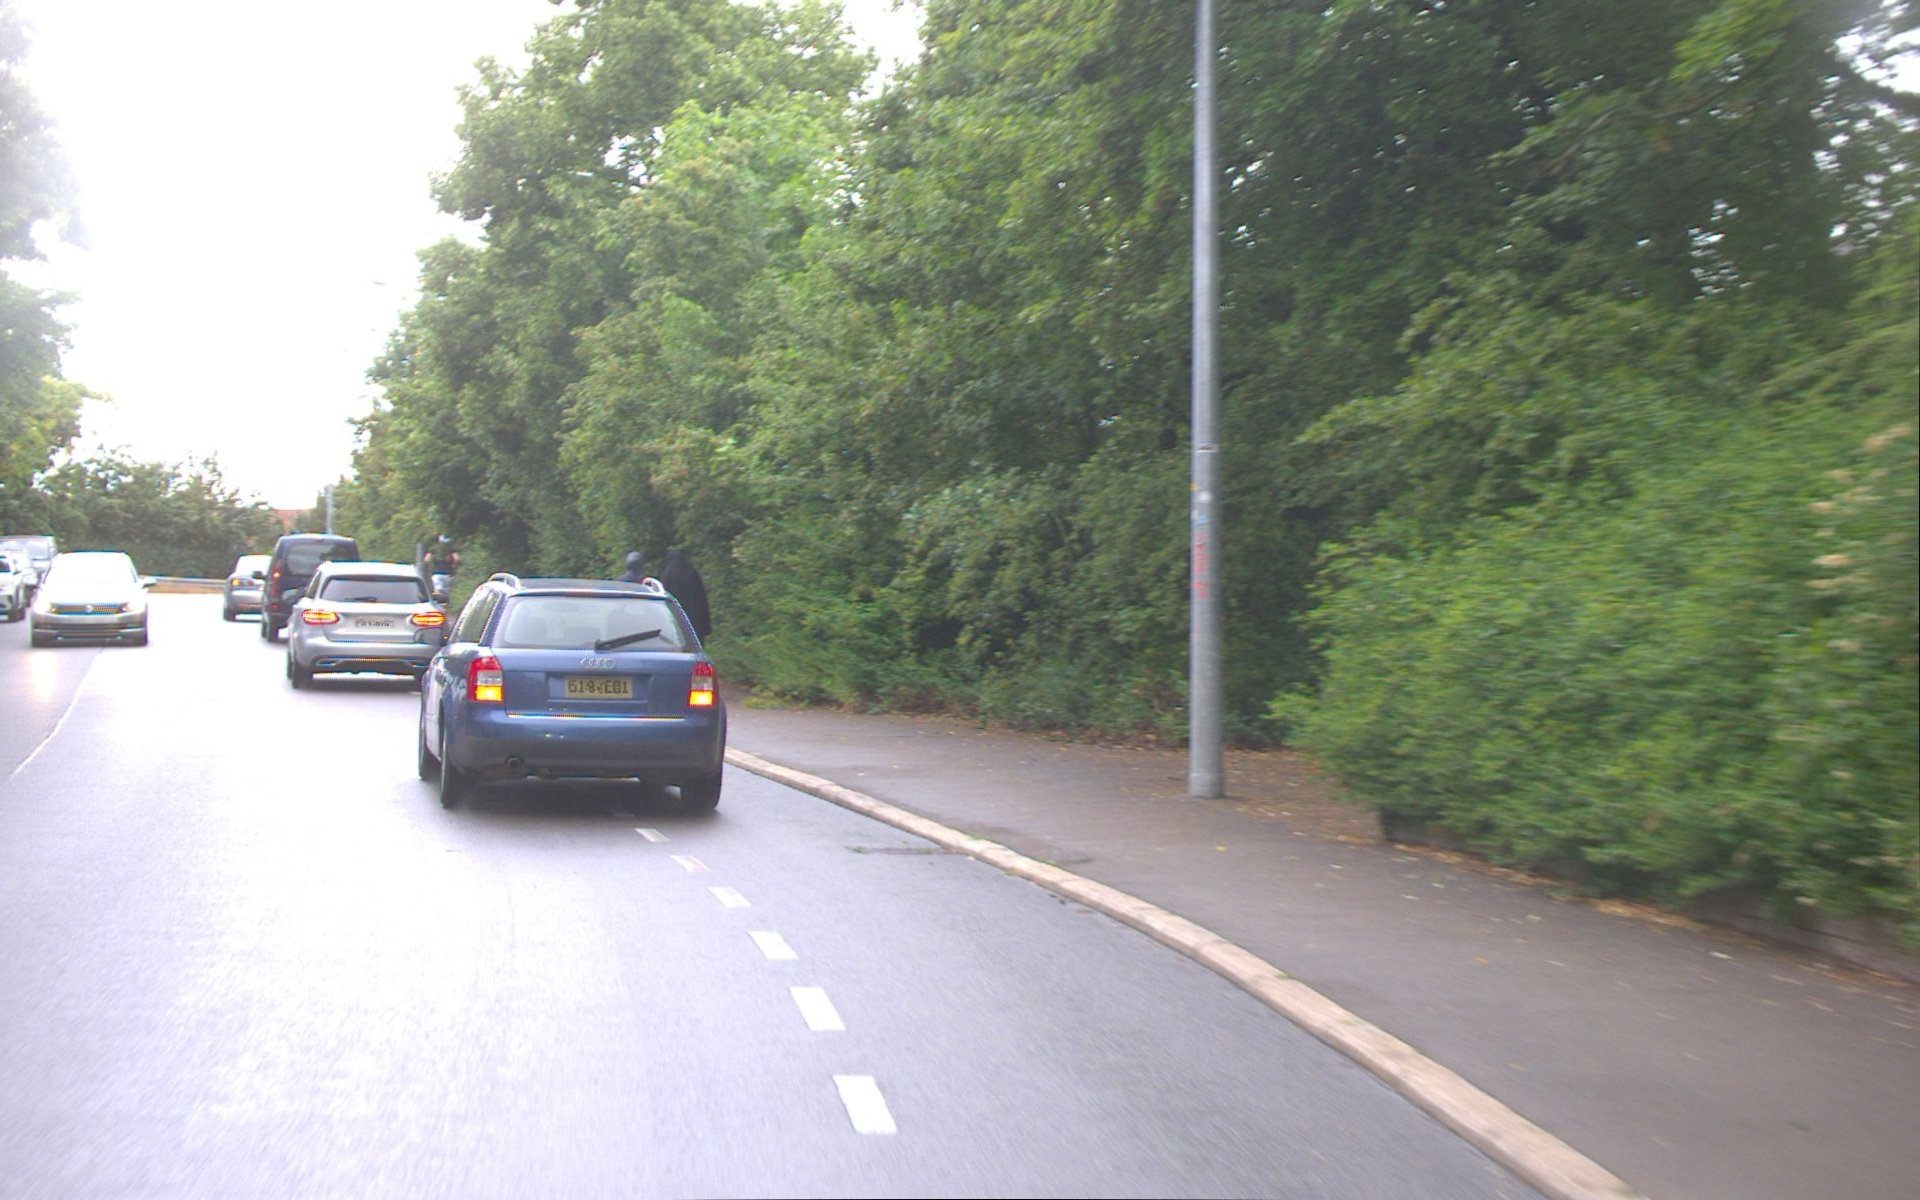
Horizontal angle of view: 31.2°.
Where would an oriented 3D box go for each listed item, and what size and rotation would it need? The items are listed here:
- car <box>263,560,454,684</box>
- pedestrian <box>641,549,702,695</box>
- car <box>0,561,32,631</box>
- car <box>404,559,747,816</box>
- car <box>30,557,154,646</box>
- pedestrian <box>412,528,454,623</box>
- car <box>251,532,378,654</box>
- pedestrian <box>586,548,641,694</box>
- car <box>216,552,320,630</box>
[{"bbox_3d":[-7.171,0.226,40.731,1.890,1.384,4.001,0,1,-15],"label":"car"},{"bbox_3d":[-3.110,0.231,37.012,0.595,1.561,0.669,0,1,-8],"label":"pedestrian"},{"bbox_3d":[-20.470,-0.094,71.990,1.688,1.432,4.257,0,0,-11],"label":"car"},{"bbox_3d":[-2.590,0.502,22.365,1.746,1.402,4.002,2,2,-13],"label":"car"},{"bbox_3d":[-14.143,0.006,56.177,1.882,1.397,4.257,0,0,-13],"label":"car"},{"bbox_3d":[-10.255,-0.478,66.865,0.716,1.828,1.021,-1,1,-11],"label":"pedestrian"},{"bbox_3d":[-11.199,-0.088,59.493,1.788,1.947,4.001,-3,0,-15],"label":"car"},{"bbox_3d":[-3.725,0.221,36.981,0.552,1.561,0.487,-1,1,-8],"label":"pedestrian"},{"bbox_3d":[-14.970,-0.200,74.272,1.821,1.611,3.786,-1,0,-17],"label":"car"}]
